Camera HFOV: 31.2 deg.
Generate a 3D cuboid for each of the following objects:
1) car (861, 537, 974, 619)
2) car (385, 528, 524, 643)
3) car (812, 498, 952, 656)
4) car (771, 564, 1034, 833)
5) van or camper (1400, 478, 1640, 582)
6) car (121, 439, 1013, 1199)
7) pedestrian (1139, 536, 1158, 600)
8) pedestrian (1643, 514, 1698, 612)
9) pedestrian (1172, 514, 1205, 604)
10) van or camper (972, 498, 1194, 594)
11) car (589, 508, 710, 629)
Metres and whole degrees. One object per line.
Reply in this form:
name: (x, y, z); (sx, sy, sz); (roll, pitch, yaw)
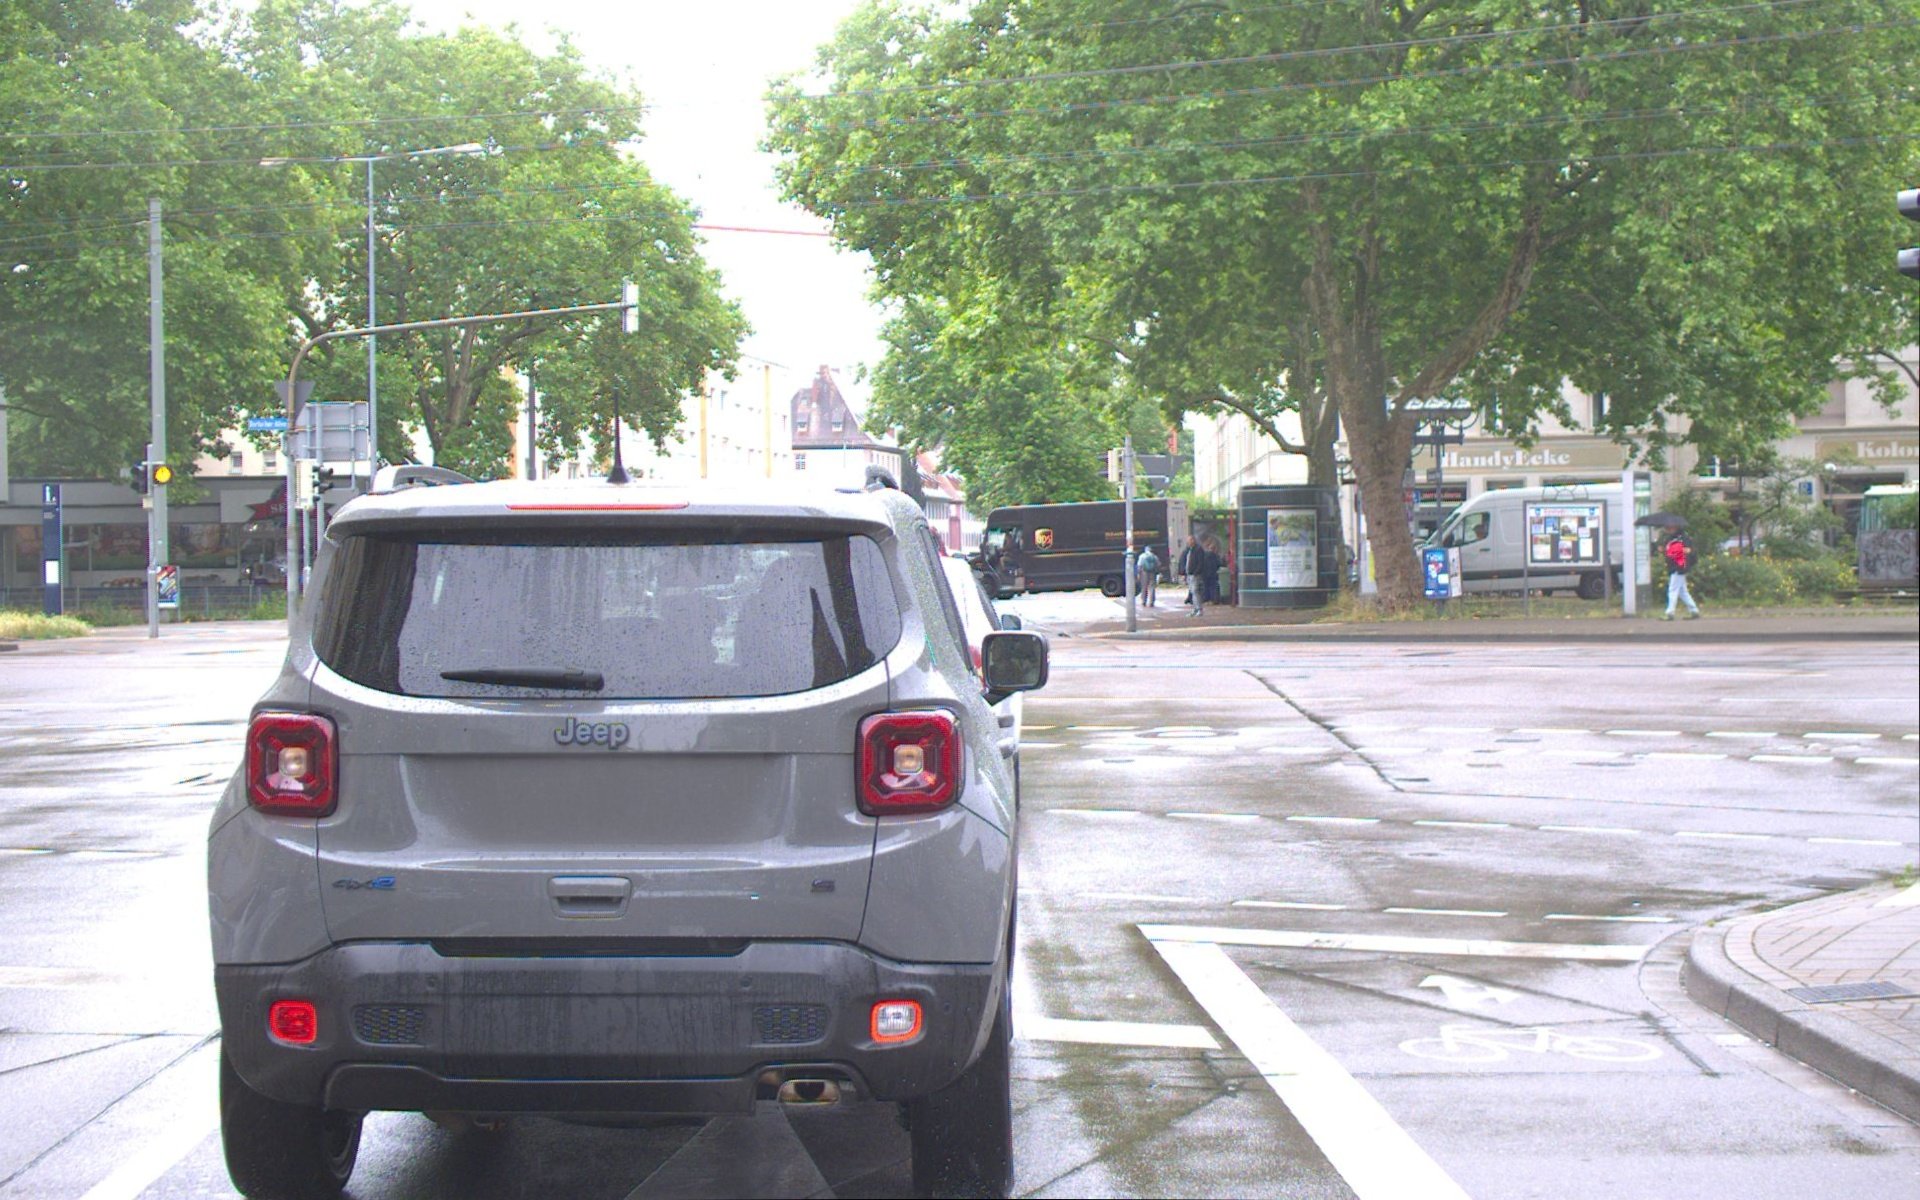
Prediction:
car: (-0.708, -0.379, 55.106); (1.592, 1.247, 3.575); (-1, 1, -4)
car: (-7.701, -0.246, 52.604); (1.814, 1.665, 3.921); (-1, 1, -4)
car: (-1.025, -0.336, 46.382); (1.770, 2.007, 4.000); (-1, 1, 0)
car: (-0.312, 0.504, 19.809); (1.363, 1.371, 3.312); (-1, 1, 0)
van or camper: (12.834, -1.615, 79.039); (5.260, 2.307, 2.090); (0, 1, 4)
car: (-0.838, 0.499, 8.987); (1.775, 1.681, 3.848); (-2, 1, -1)
pedestrian: (4.991, -0.846, 90.898); (0.458, 1.698, 0.424); (-1, 1, 1)
pedestrian: (11.307, -0.582, 54.707); (0.674, 1.548, 0.760); (0, 0, 28)
pedestrian: (5.135, -0.916, 77.137); (0.651, 2.007, 0.482); (-1, 1, 12)
van or camper: (3.900, -1.713, 109.136); (6.536, 2.902, 2.491); (-1, 1, 27)
car: (-4.673, -0.494, 52.180); (1.721, 1.733, 3.730); (-1, 1, -4)
